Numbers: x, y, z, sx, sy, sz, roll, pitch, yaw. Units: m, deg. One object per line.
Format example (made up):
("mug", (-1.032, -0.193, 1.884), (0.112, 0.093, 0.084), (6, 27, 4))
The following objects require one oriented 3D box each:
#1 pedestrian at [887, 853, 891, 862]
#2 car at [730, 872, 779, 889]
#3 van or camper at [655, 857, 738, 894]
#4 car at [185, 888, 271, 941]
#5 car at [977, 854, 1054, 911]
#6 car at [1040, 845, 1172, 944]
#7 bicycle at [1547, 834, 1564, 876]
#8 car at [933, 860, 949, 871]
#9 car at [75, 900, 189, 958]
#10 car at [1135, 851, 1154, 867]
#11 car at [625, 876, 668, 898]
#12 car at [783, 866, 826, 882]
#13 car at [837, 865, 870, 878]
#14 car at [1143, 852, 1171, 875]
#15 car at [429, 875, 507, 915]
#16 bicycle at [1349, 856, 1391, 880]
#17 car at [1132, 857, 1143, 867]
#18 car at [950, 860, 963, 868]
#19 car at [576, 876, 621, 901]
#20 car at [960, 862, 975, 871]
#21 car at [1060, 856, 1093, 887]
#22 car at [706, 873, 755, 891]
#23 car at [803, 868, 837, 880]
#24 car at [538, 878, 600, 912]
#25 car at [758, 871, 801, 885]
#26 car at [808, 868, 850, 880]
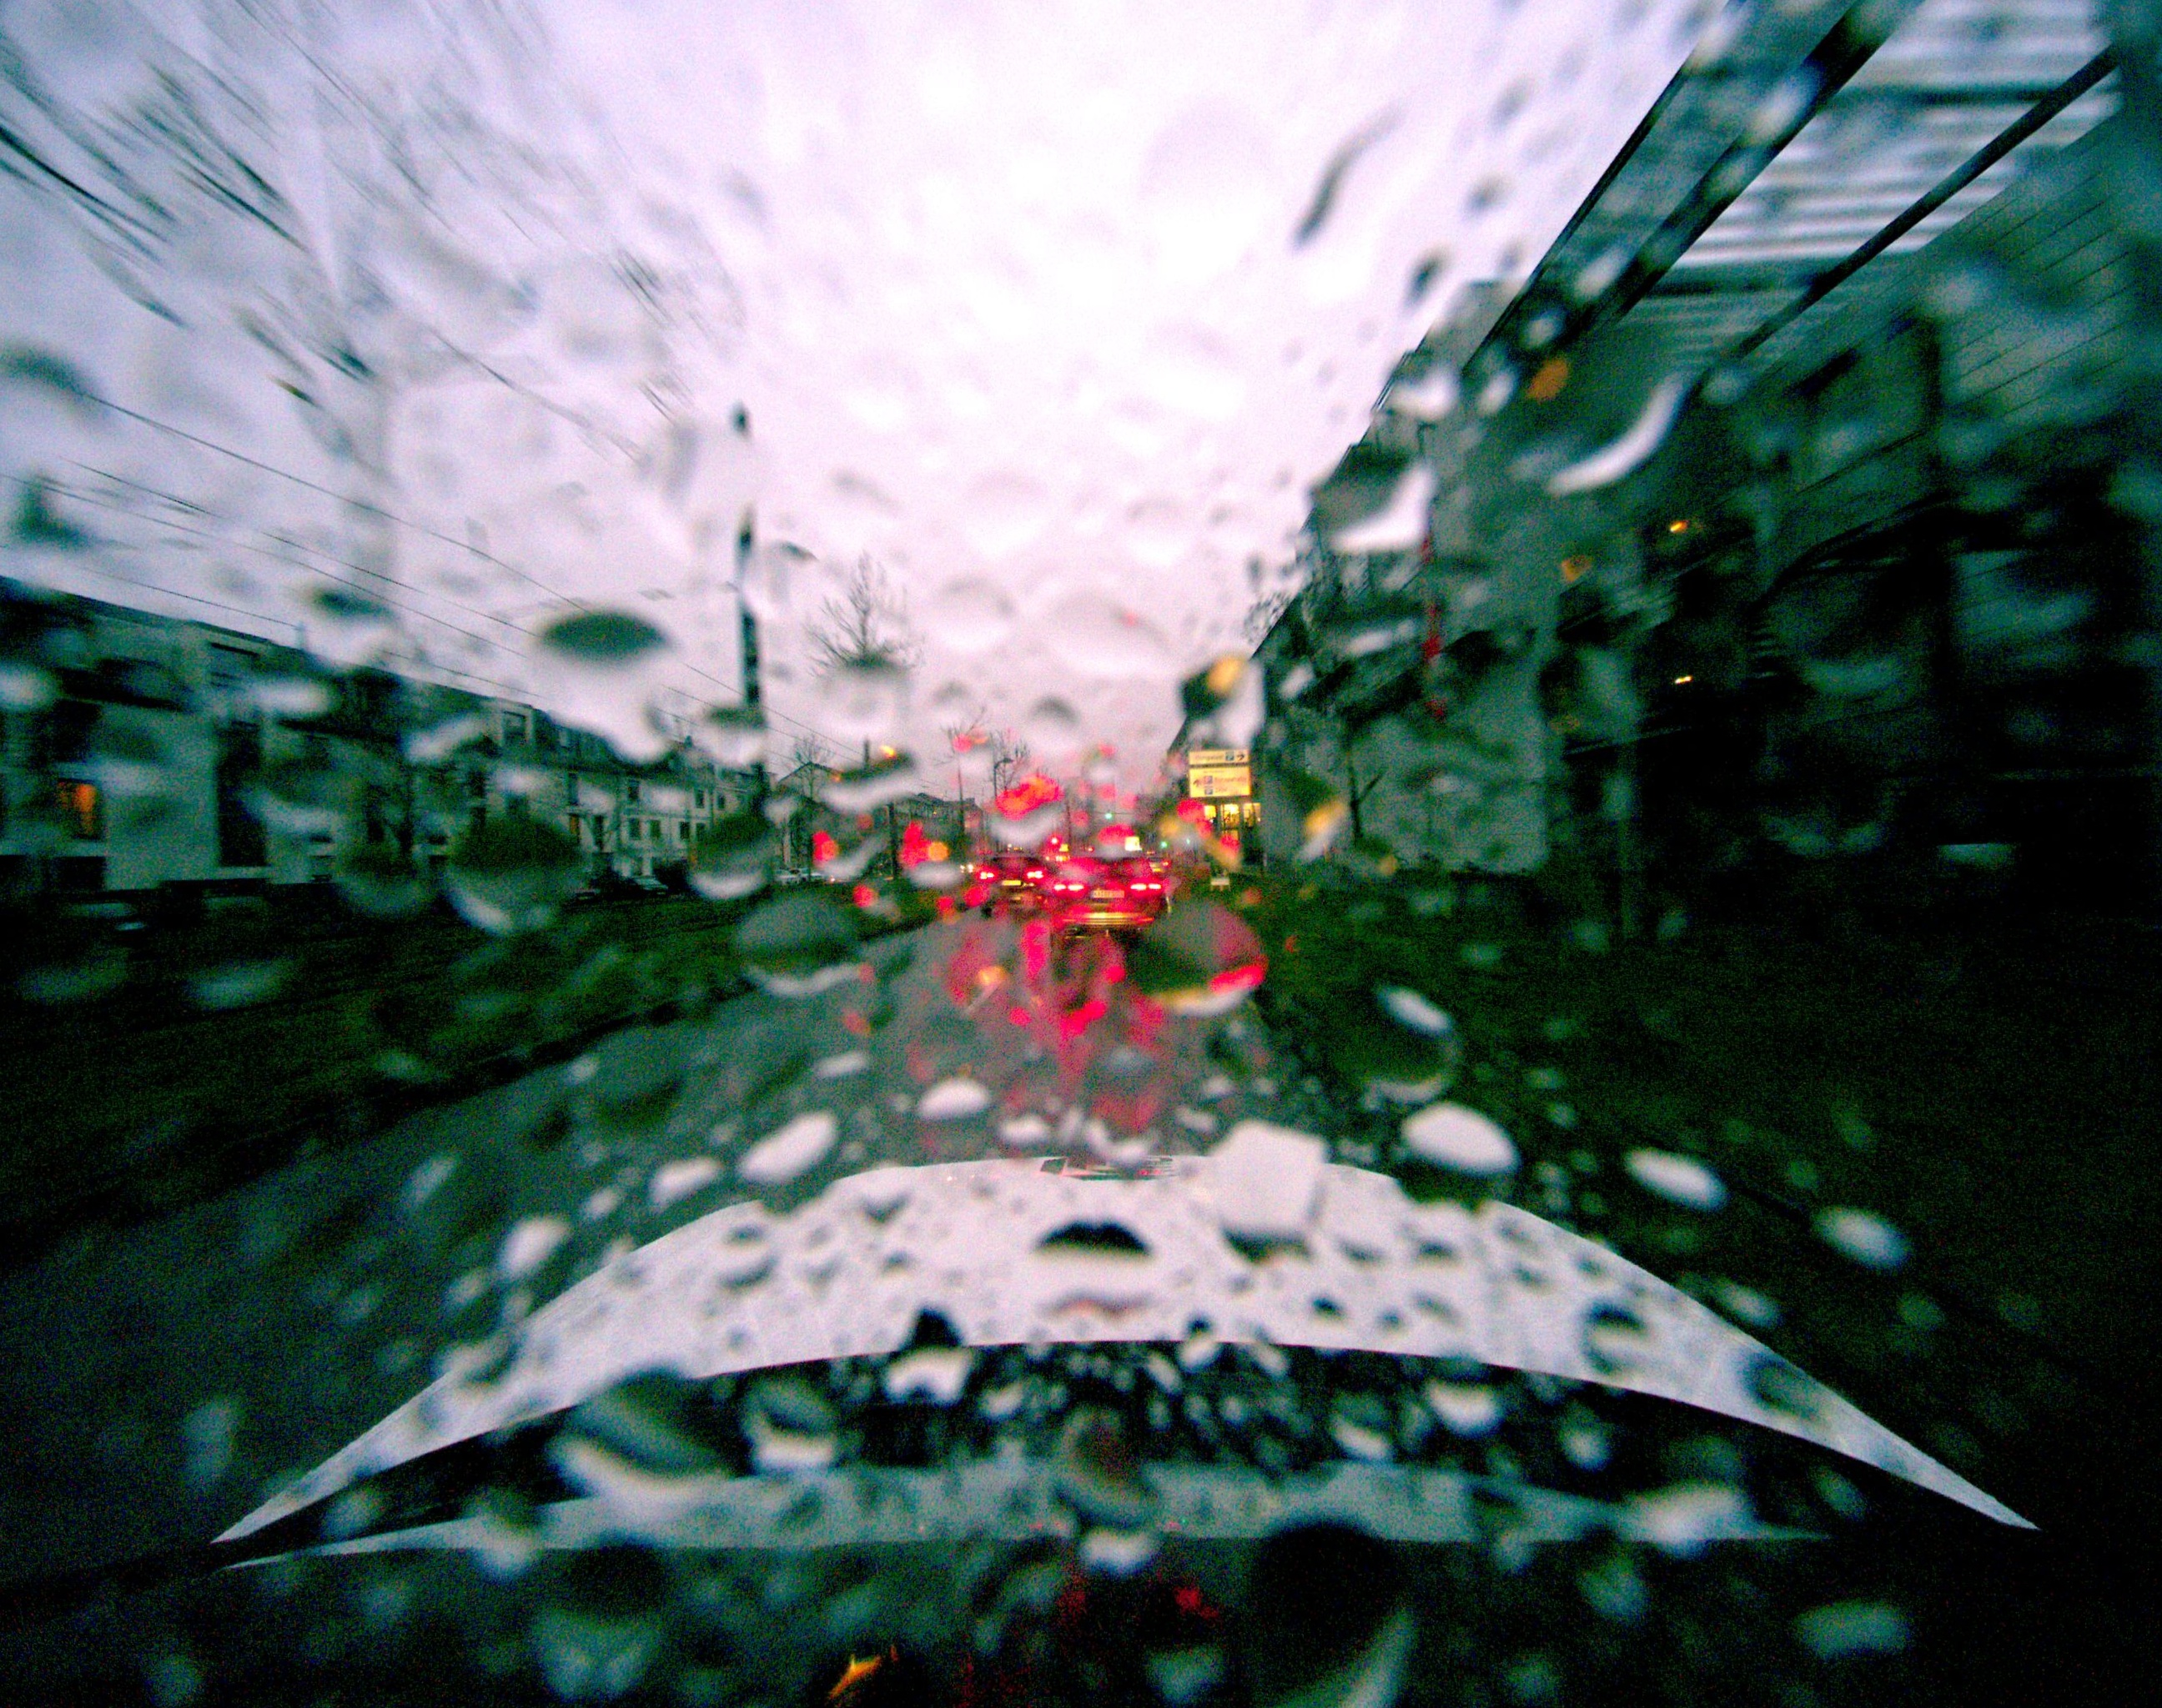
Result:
("pedestrian", (-25.779, 0.525, 109.561), (0.348, 1.184, 0.429), (0, -1, -39))
("car", (-25.743, 2.056, 64.121), (3.494, 1.200, 1.894), (0, 0, 33))
("van or camper", (-26.145, 1.437, 55.207), (6.792, 2.360, 2.013), (0, 0, 35))
("car", (-26.864, 1.860, 25.615), (3.342, 1.422, 1.680), (0, 0, 40))
("car", (-1.756, 0.745, 23.029), (1.812, 1.450, 3.999), (0, 0, 0))
("car", (0.439, 0.628, 14.195), (1.986, 1.483, 3.701), (0, 0, 2))
("bicycle", (15.113, 0.034, 25.950), (0.406, 1.284, 1.755), (-1, 0, 29))
("car", (-20.708, 1.673, 120.847), (1.607, 1.623, 3.510), (0, 0, 2))
("car", (-26.539, 2.037, 22.761), (2.899, 1.336, 1.749), (0, 0, 34))
("car", (5.913, 0.464, 76.144), (1.617, 1.498, 3.528), (0, 0, 2))
("car", (-25.934, 1.933, 48.603), (2.852, 1.204, 1.397), (0, 0, 43))
("car", (-25.280, 1.775, 74.406), (4.071, 1.378, 1.784), (0, 0, 38))
("car", (-24.656, 1.941, 88.341), (3.719, 1.337, 1.463), (-2, 0, 37))
("car", (5.237, 0.624, 56.429), (1.858, 1.543, 3.615), (0, 0, 5))
("car", (-26.544, 1.731, 35.230), (4.109, 1.541, 1.680), (0, 0, 38))
("bicycle", (13.670, 0.649, 38.488), (1.803, 1.052, 0.397), (-3, 0, -1))
("car", (9.312, 1.297, 133.999), (1.608, 1.571, 3.356), (0, 0, 5))
("car", (-24.160, 1.969, 158.422), (1.927, 1.597, 3.725), (0, 0, -1))
("car", (-27.280, 1.943, 45.999), (3.058, 1.302, 1.397), (0, 0, 43))
("car", (-20.293, 2.167, 145.658), (1.873, 1.502, 4.791), (0, 0, 1))
("car", (-0.236, 0.967, 45.363), (1.683, 1.635, 3.475), (0, 0, 2))
("car", (-26.321, 2.088, 61.109), (3.494, 1.212, 1.759), (0, 0, 33))
("car", (-24.933, 1.915, 77.762), (3.005, 1.147, 1.406), (0, 0, 32))
("car", (-26.337, 2.071, 41.861), (3.801, 1.588, 1.753), (0, 0, 43))
("car", (-25.113, 1.978, 67.866), (3.374, 1.147, 1.702), (0, 0, 33))
("car", (-24.942, 2.013, 80.690), (4.135, 1.116, 1.692), (0, 0, 32))
